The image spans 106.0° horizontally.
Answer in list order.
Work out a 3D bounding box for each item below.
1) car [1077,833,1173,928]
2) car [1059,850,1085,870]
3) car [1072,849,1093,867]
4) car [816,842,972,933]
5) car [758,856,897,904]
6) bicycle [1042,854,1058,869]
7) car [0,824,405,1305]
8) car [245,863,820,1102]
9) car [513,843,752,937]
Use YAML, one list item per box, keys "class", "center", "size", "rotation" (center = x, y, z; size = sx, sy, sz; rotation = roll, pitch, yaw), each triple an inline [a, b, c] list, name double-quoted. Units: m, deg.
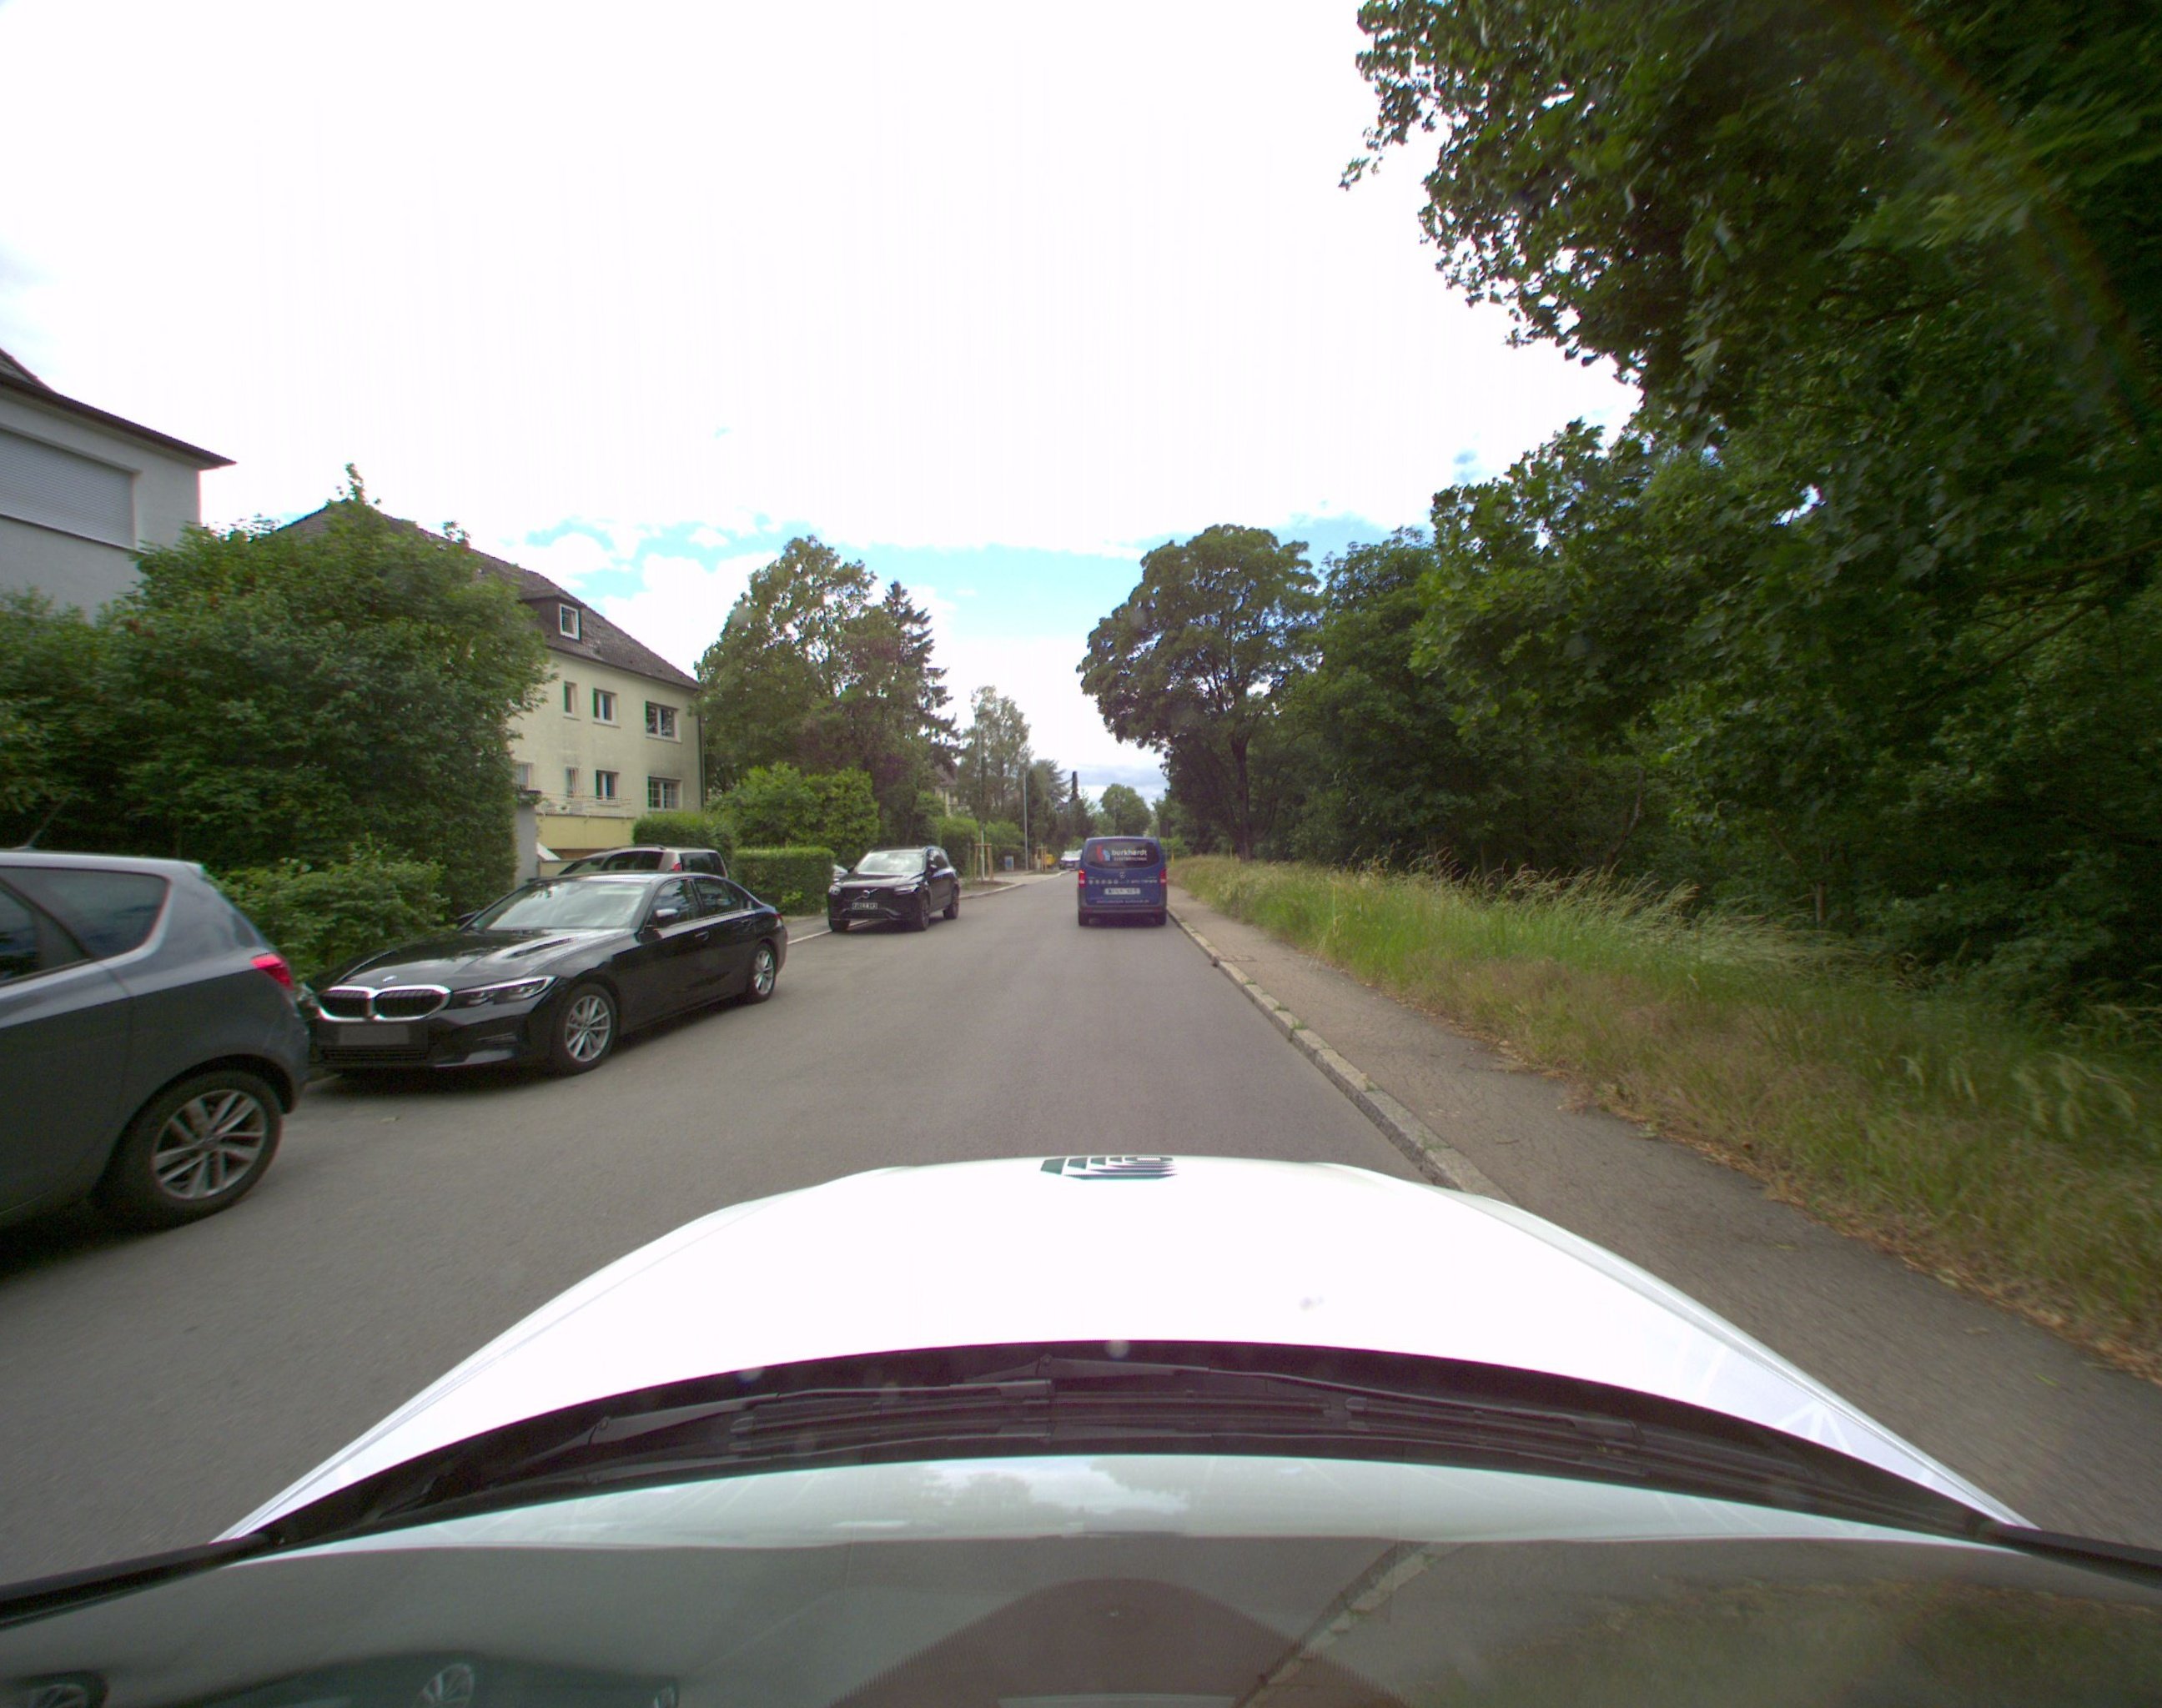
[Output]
- class: "car"
  center: [0.883, 0.489, 18.320]
  size: [1.882, 1.844, 4.000]
  rotation: [-1, 2, 0]
- class: "car"
  center: [-0.715, 0.488, 69.495]
  size: [1.827, 1.631, 4.306]
  rotation: [0, 0, 5]
- class: "car"
  center: [0.183, 0.376, 82.381]
  size: [1.823, 1.751, 4.005]
  rotation: [0, 1, 5]
- class: "car"
  center: [-3.955, 0.637, 18.272]
  size: [1.965, 1.737, 5.195]
  rotation: [0, 0, 4]
- class: "car"
  center: [-8.105, 0.826, 26.227]
  size: [3.805, 1.385, 1.780]
  rotation: [-1, 1, 4]
- class: "bicycle"
  center: [-2.511, 0.598, 66.660]
  size: [0.902, 1.252, 2.919]
  rotation: [1, 0, 5]
- class: "car"
  center: [-4.546, 0.723, 2.099]
  size: [1.725, 1.632, 4.569]
  rotation: [0, 0, 1]
- class: "car"
  center: [-4.239, 0.832, 7.547]
  size: [1.746, 1.412, 4.903]
  rotation: [0, 0, 4]
- class: "car"
  center: [-8.451, 0.627, 15.461]
  size: [3.665, 1.637, 1.835]
  rotation: [0, 0, 14]
